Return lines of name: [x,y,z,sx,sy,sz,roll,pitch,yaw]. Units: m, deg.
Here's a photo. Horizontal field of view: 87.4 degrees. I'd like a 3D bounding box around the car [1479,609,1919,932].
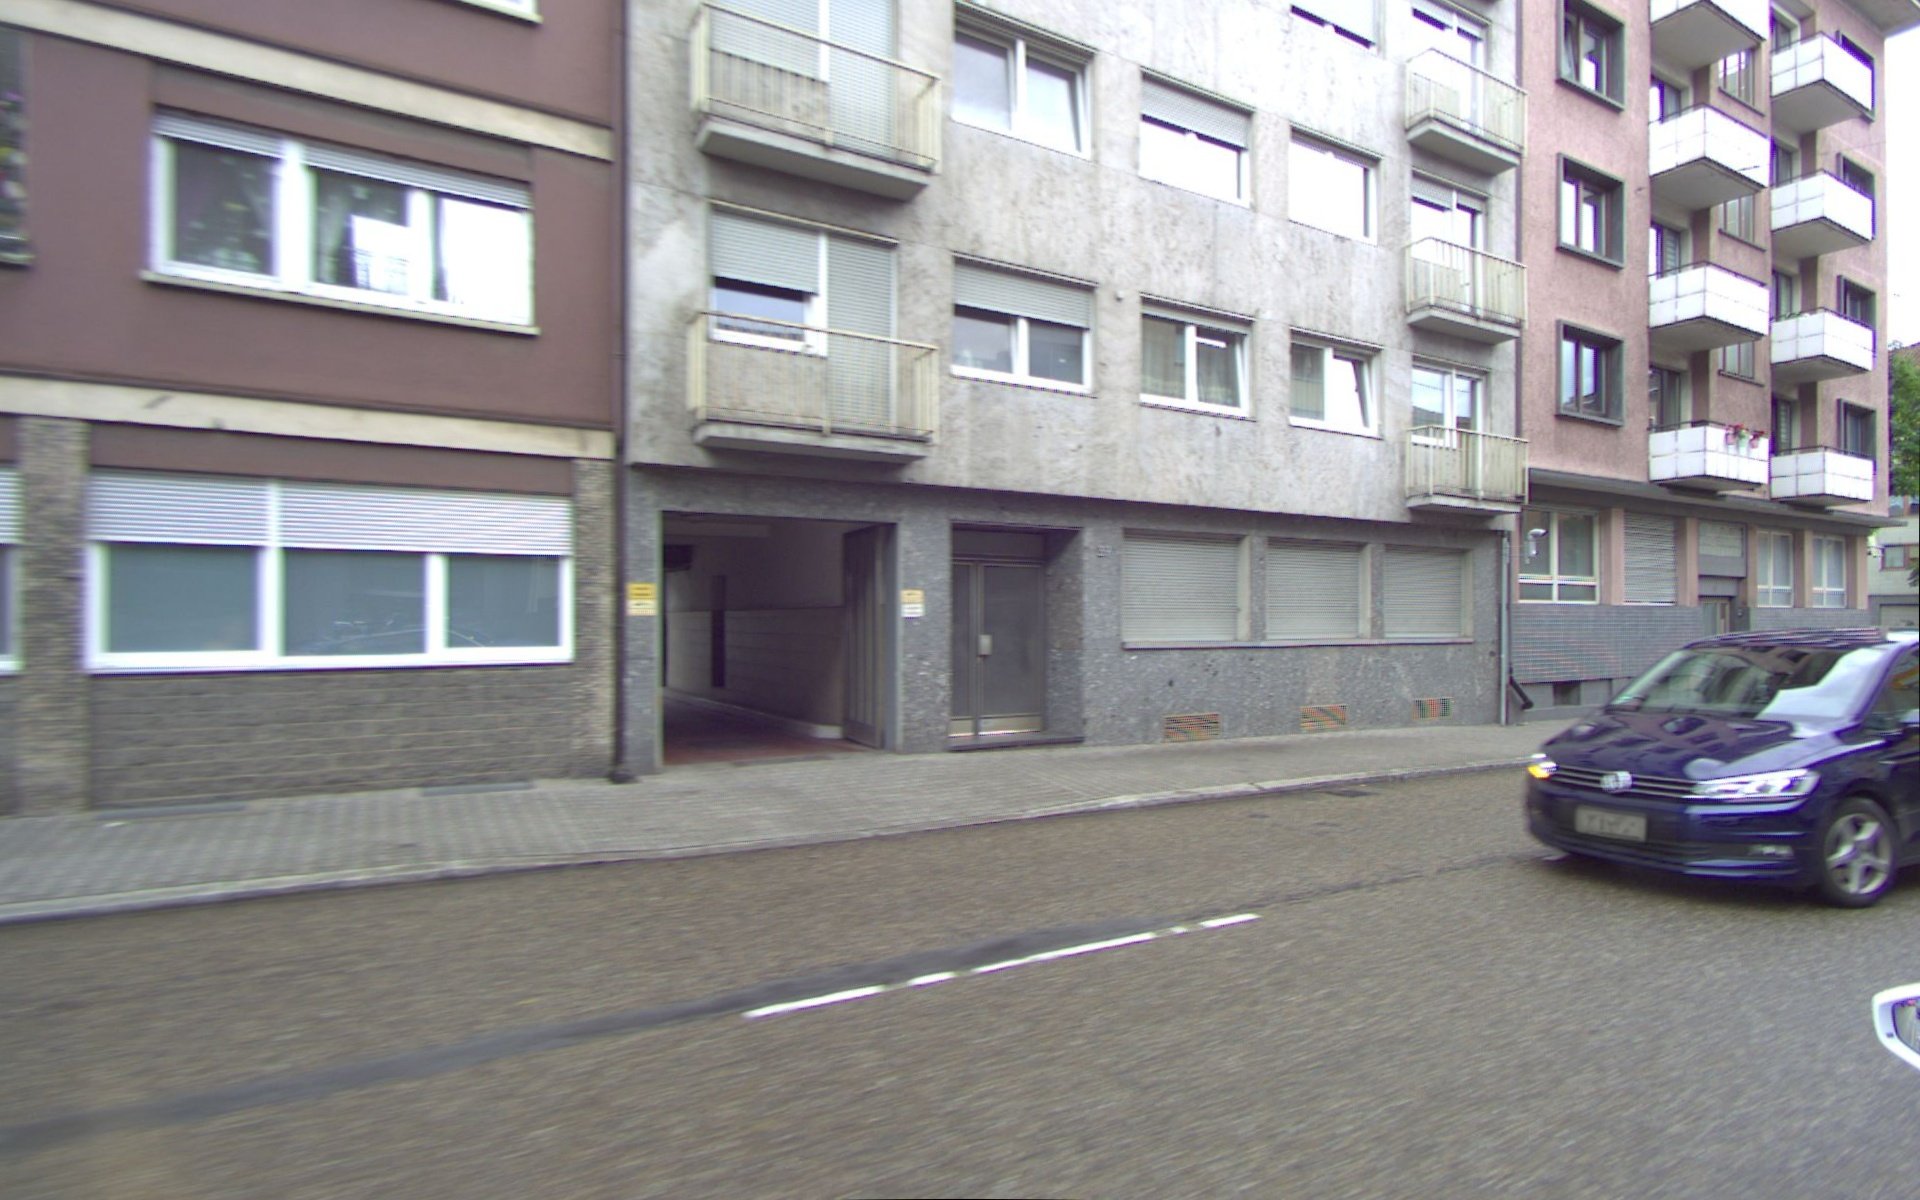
car: [5.867,0.942,6.948,4.352,1.667,1.767,1,-2,-25]
